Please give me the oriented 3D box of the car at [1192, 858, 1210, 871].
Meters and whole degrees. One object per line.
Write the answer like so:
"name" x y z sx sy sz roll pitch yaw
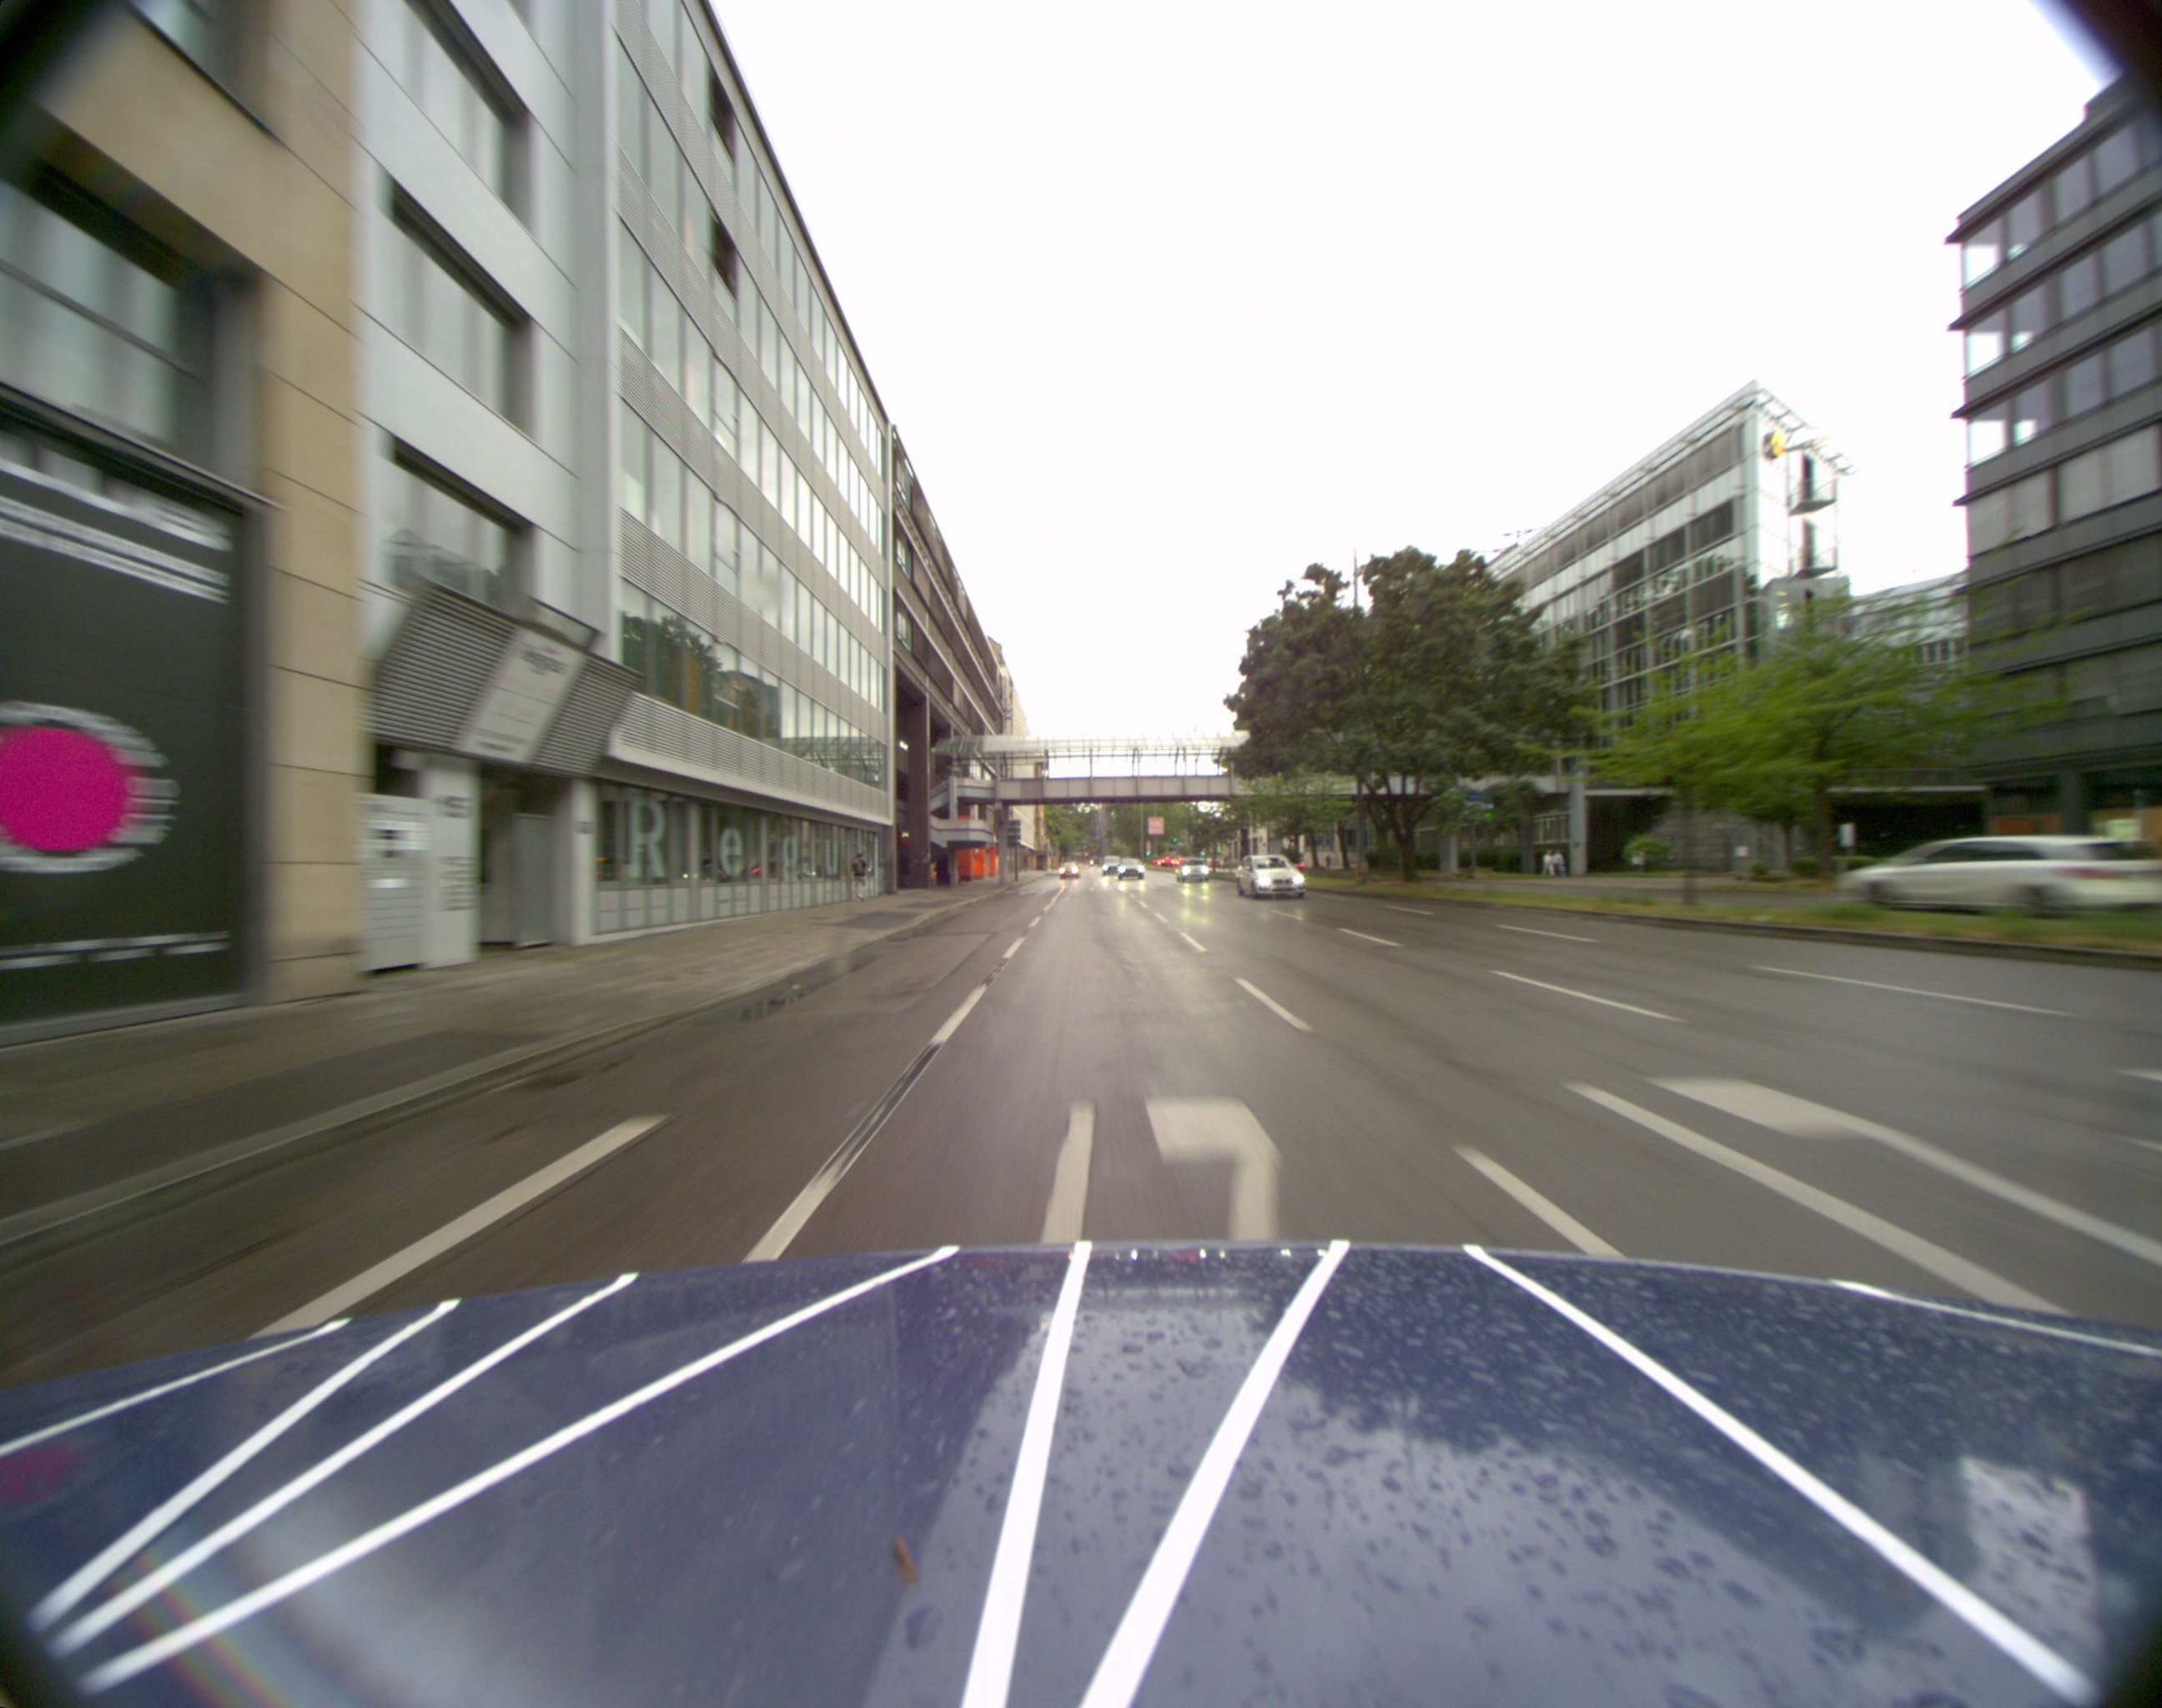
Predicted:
"car" 16.282 1.389 103.280 1.672 1.589 3.999 -3 0 -3

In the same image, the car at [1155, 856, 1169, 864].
"car" 13.678 0.983 128.316 1.732 1.303 4.076 -2 0 -3

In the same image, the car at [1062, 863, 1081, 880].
"car" -0.823 1.572 68.613 1.666 1.464 3.484 -2 0 0

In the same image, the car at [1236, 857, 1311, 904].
"car" 7.065 0.938 28.294 1.788 1.564 4.288 -2 0 2

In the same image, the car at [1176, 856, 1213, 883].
"car" 7.252 0.969 48.745 1.788 1.564 3.691 -2 0 0

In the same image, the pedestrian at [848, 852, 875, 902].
"pedestrian" -8.128 0.854 28.183 0.729 1.821 0.764 -2 0 0

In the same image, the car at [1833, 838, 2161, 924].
"car" 18.111 0.477 15.229 1.732 1.425 4.312 -2 0 -2

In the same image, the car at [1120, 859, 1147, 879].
"car" 4.032 1.169 59.049 1.941 1.426 4.288 -2 0 2

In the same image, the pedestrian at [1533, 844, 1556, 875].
"pedestrian" 27.730 0.316 45.451 0.729 1.788 0.925 -2 1 0

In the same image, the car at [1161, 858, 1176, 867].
"car" 13.972 1.381 121.610 1.732 1.303 4.076 -2 0 -3

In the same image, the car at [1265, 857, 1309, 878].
"car" 13.927 0.901 51.611 1.732 1.303 4.076 -2 0 -3

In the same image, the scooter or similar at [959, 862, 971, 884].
"scooter or similar" -6.971 1.149 45.612 0.472 1.266 1.306 -2 0 -16

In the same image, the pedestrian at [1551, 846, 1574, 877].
"pedestrian" 28.783 0.448 45.392 0.729 1.822 0.925 -2 1 0

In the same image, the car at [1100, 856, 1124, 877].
"car" 3.101 1.268 76.963 2.163 2.014 5.041 -2 0 0
